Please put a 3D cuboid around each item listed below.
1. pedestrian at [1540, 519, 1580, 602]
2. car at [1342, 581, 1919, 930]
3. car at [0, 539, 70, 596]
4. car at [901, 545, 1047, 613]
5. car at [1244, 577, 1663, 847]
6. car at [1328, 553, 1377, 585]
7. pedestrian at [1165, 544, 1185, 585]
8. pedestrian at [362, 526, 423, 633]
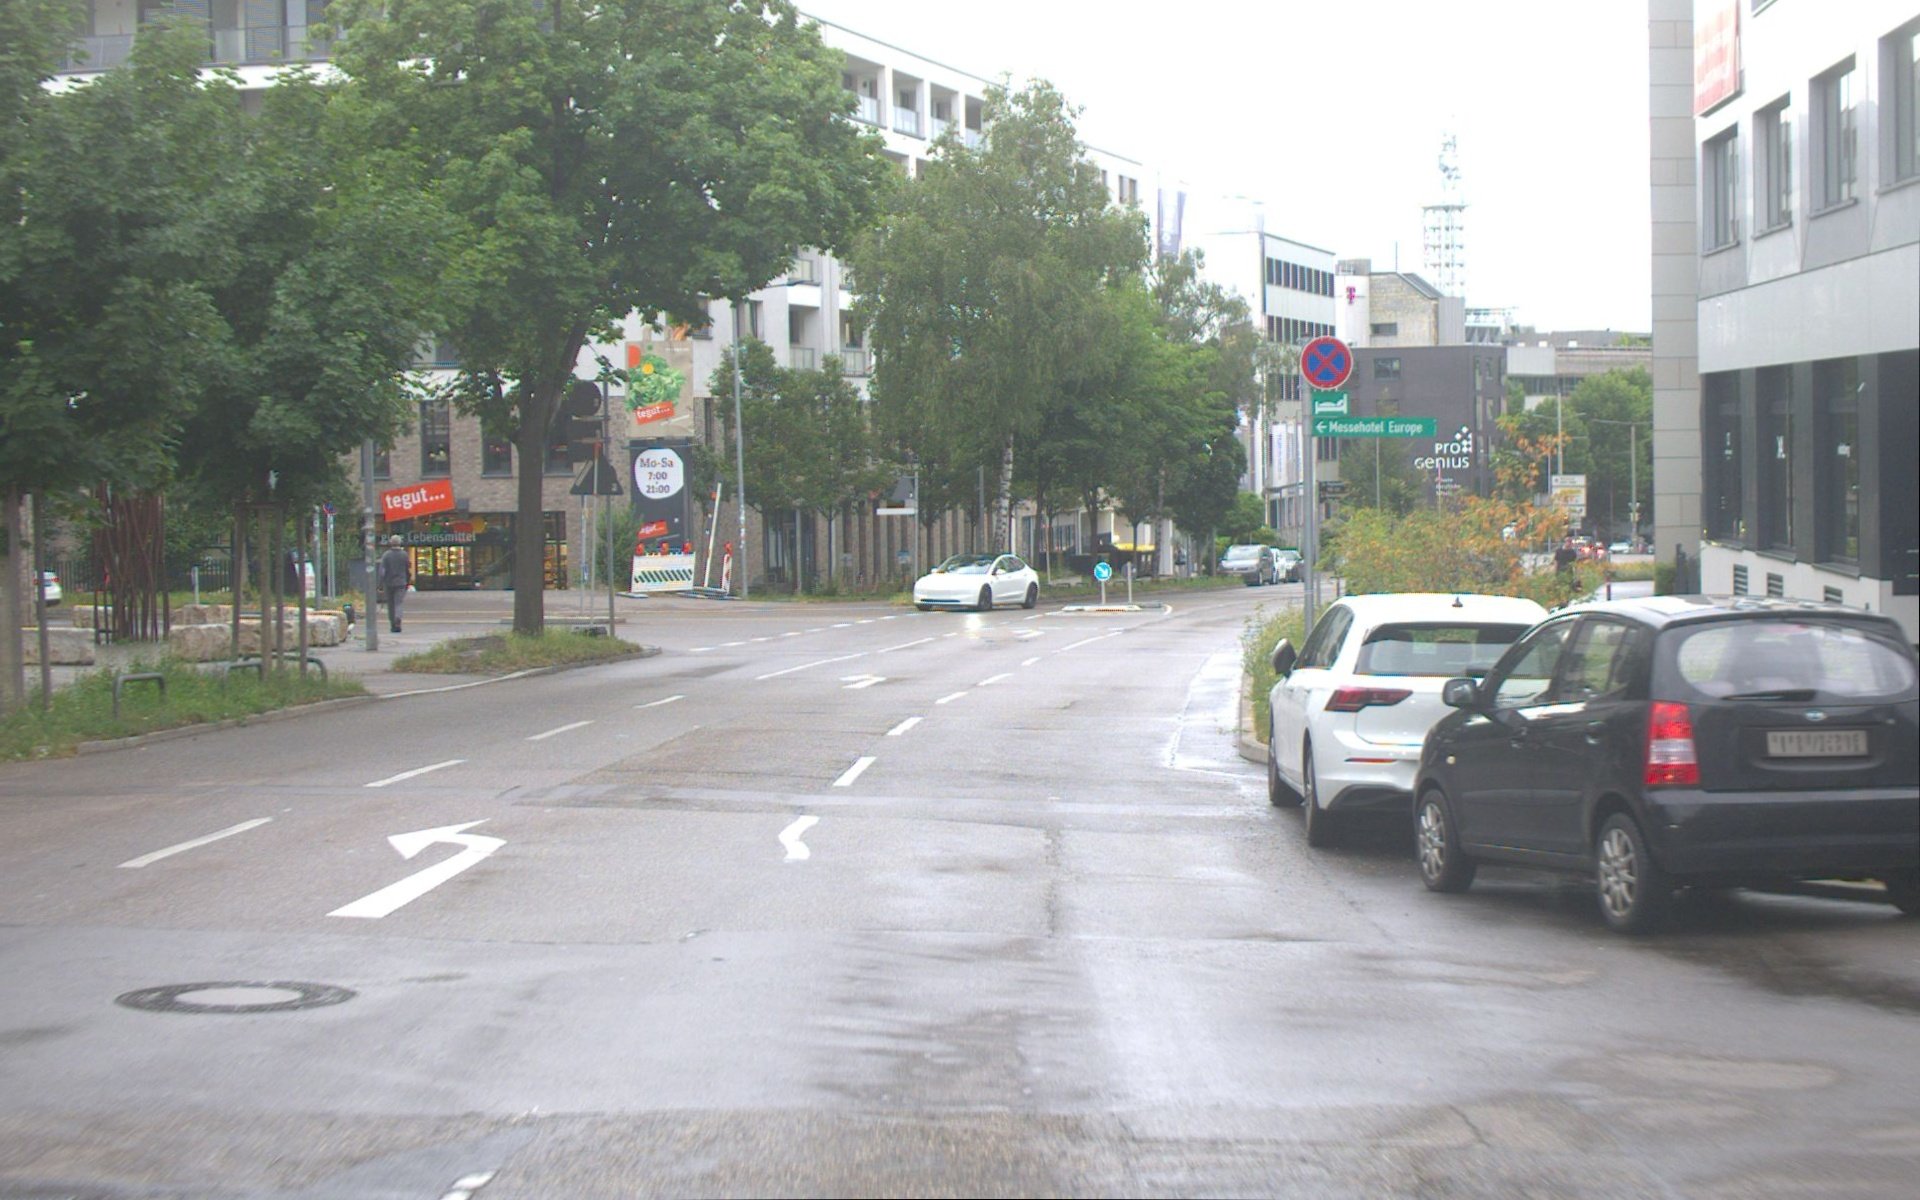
[{"bbox_3d":[13.150,-0.865,75.404,0.823,1.790,1.207,0,0,9],"label":"pedestrian"},{"bbox_3d":[3.463,0.673,16.913,2.043,1.453,4.056,1,1,-10],"label":"car"},{"bbox_3d":[-23.311,-0.787,79.930,4.690,1.288,1.999,1,0,14],"label":"car"},{"bbox_3d":[0.394,-0.548,87.445,2.059,1.655,4.815,1,1,22],"label":"car"},{"bbox_3d":[2.966,0.616,21.636,2.039,1.459,4.502,1,1,1],"label":"car"},{"bbox_3d":[19.112,-1.511,167.338,1.915,1.476,4.354,1,0,12],"label":"car"},{"bbox_3d":[8.853,-1.462,141.489,0.709,1.677,0.956,0,1,10],"label":"pedestrian"},{"bbox_3d":[-10.758,-0.388,65.153,1.055,2.007,1.100,1,0,-6],"label":"pedestrian"}]
